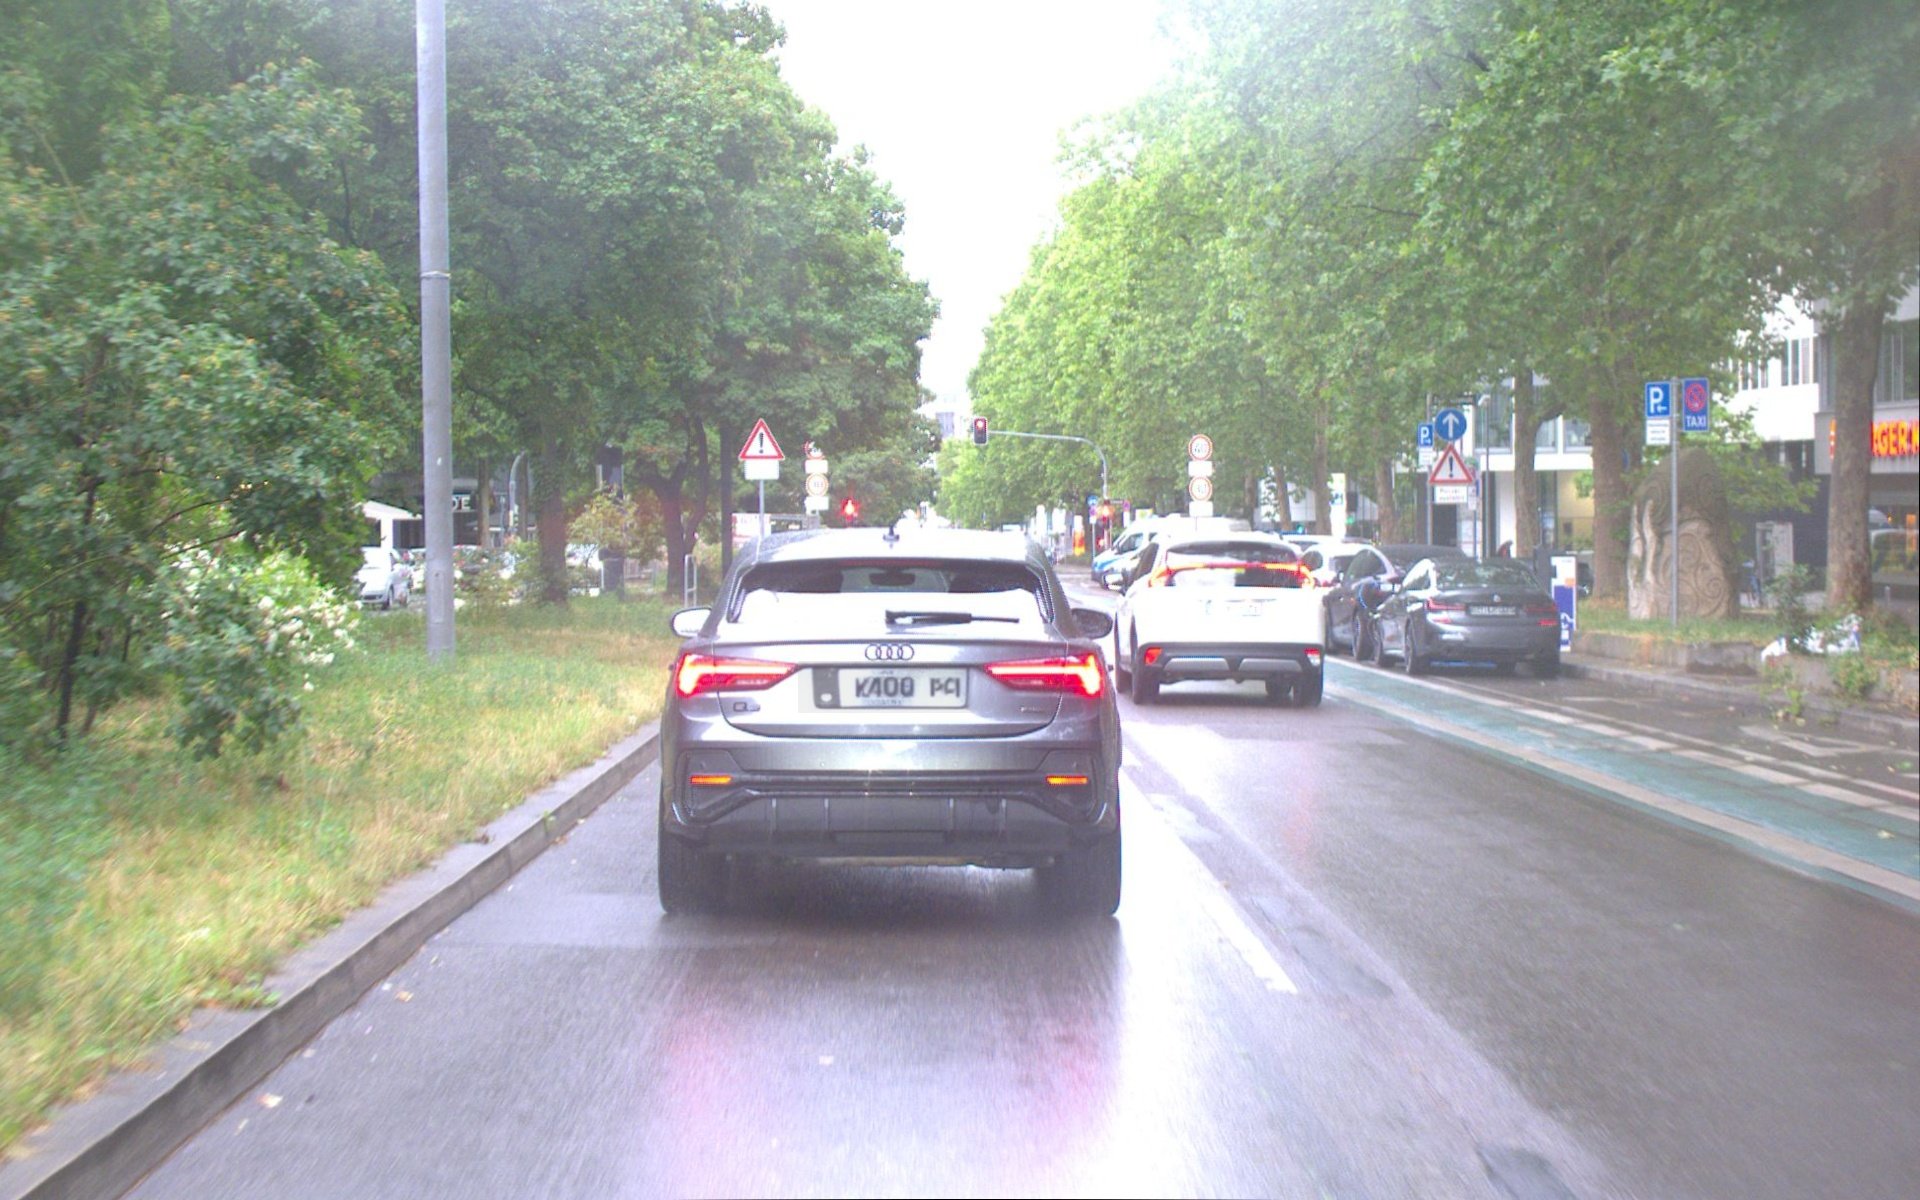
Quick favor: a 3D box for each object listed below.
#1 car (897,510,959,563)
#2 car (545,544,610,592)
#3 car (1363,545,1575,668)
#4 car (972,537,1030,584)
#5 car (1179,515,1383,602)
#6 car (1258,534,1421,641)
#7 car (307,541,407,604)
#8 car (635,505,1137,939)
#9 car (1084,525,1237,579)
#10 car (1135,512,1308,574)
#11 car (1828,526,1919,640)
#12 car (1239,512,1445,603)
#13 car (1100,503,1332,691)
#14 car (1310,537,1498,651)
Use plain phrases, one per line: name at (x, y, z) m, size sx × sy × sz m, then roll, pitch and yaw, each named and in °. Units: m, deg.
car at (-1.113, -2.137, 117.066) m, size 1.993 × 1.720 × 4.000 m, roll 1°, pitch 0°, yaw -1°
car at (-14.040, -1.181, 126.463) m, size 1.760 × 1.698 × 4.333 m, roll 1°, pitch 0°, yaw 1°
car at (6.323, 0.054, 43.151) m, size 1.873 × 1.416 × 4.611 m, roll 1°, pitch 1°, yaw -1°
car at (1.466, -1.430, 125.546) m, size 1.993 × 1.645 × 4.000 m, roll 1°, pitch 0°, yaw -1°
car at (7.838, -1.025, 84.114) m, size 4.602 × 2.007 × 1.964 m, roll 2°, pitch 0°, yaw 38°
car at (5.899, -0.209, 53.875) m, size 1.727 × 1.566 × 4.074 m, roll 1°, pitch 0°, yaw -5°
car at (-14.072, -0.648, 80.351) m, size 1.649 × 1.430 × 3.812 m, roll 0°, pitch 0°, yaw 0°
car at (-0.335, 0.425, 14.757) m, size 1.849 × 1.596 × 4.000 m, roll 1°, pitch 1°, yaw -2°
car at (6.718, -1.606, 115.246) m, size 4.645 × 1.700 × 1.997 m, roll 2°, pitch 0°, yaw 27°
car at (7.707, -1.670, 101.264) m, size 4.645 × 1.700 × 1.997 m, roll 2°, pitch 0°, yaw 27°
car at (9.976, -0.137, 32.961) m, size 2.889 × 1.071 × 1.453 m, roll 2°, pitch 0°, yaw 30°
car at (9.904, -1.103, 89.225) m, size 4.889 × 2.246 × 1.997 m, roll 2°, pitch 0°, yaw 28°
car at (2.447, -0.038, 33.737) m, size 1.878 × 1.691 × 4.000 m, roll 1°, pitch 0°, yaw -1°
car at (6.276, -0.099, 49.056) m, size 1.867 × 1.515 × 4.559 m, roll 1°, pitch 0°, yaw -3°
